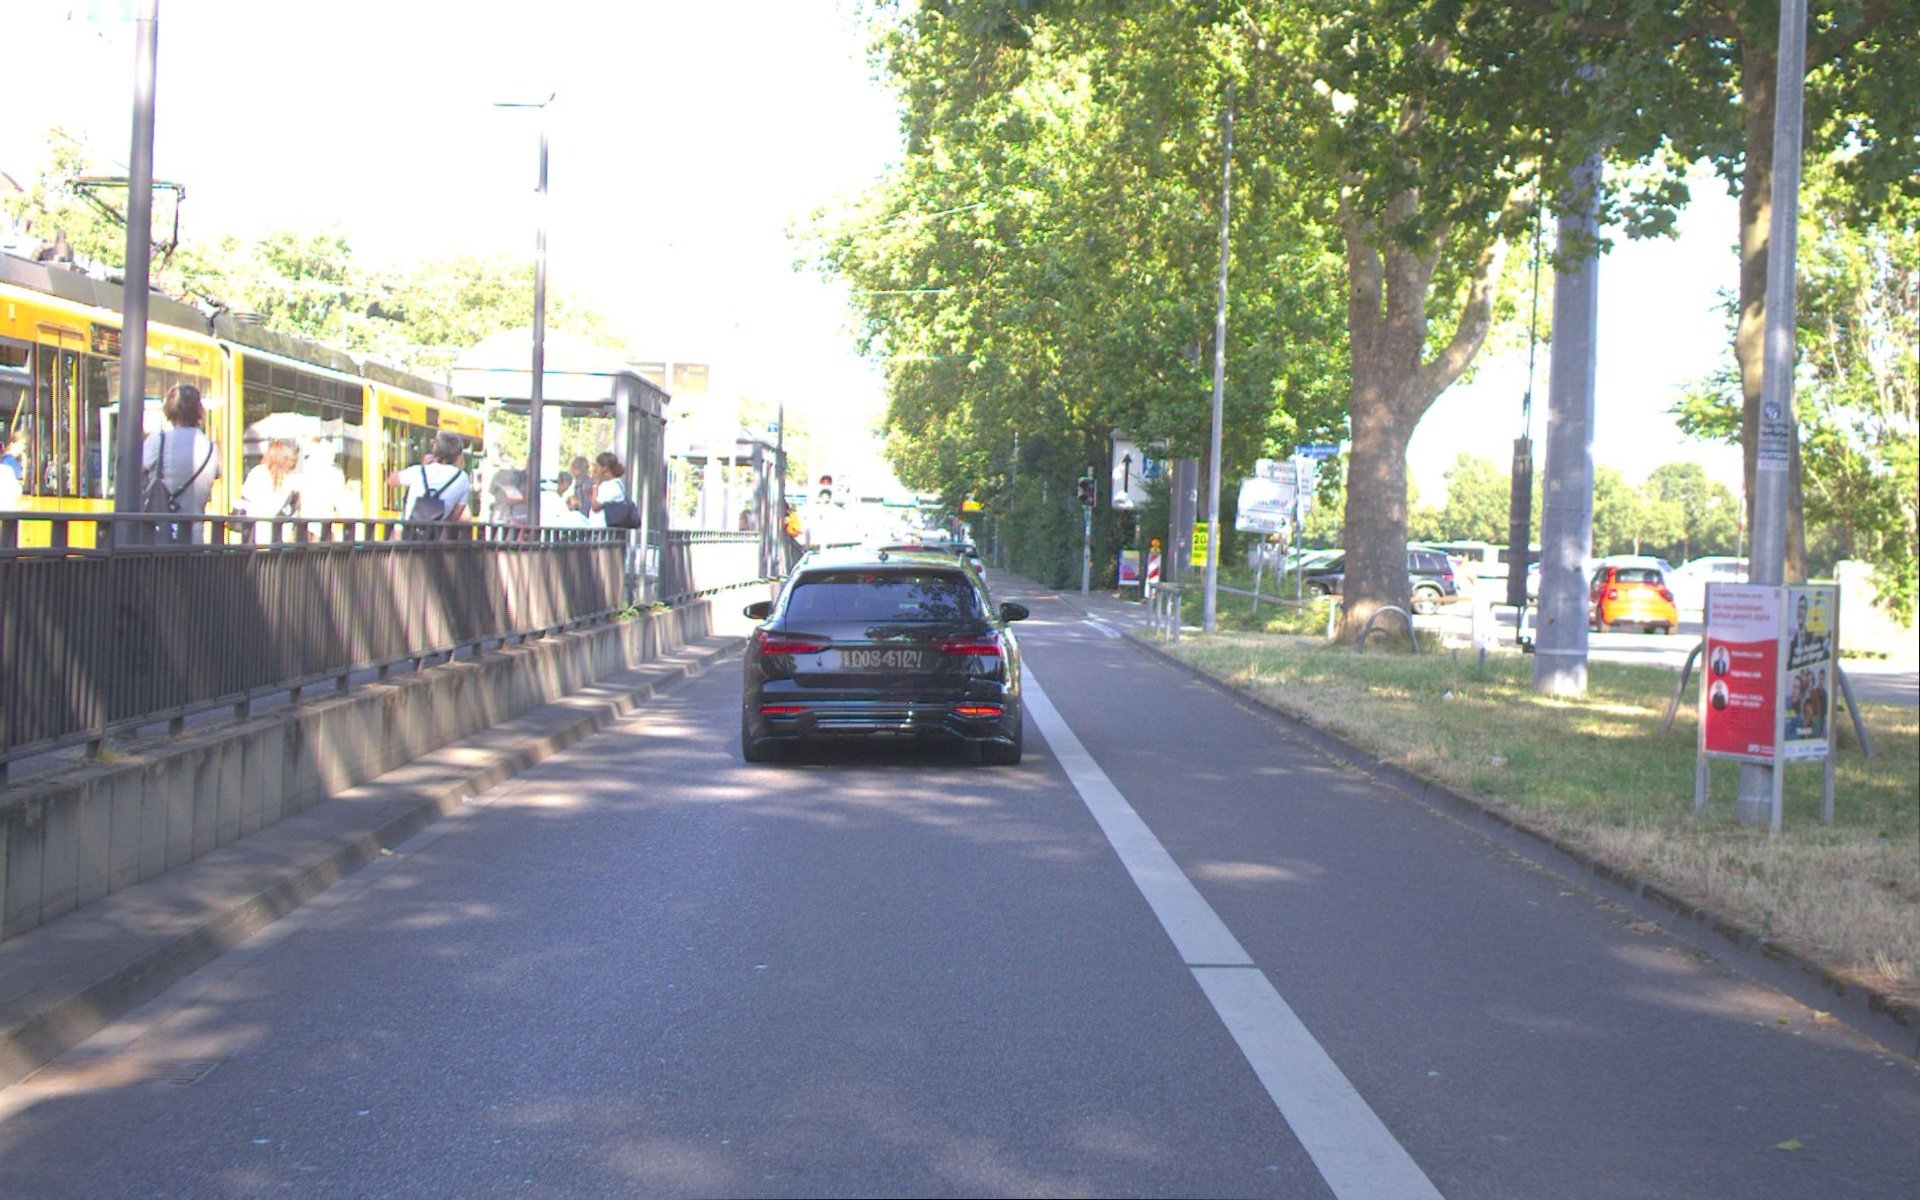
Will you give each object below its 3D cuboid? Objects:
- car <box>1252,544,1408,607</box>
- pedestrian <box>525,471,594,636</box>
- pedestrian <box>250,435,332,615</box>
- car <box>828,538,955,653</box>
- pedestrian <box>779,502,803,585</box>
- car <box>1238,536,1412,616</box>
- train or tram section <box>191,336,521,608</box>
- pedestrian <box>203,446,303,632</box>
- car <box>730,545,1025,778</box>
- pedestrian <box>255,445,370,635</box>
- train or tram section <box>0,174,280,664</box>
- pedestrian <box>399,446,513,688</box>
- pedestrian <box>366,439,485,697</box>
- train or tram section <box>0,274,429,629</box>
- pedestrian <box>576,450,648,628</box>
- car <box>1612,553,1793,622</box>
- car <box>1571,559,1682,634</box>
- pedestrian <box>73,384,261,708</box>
[{"bbox_3d":[9.804,-0.656,91.276,3.886,1.499,1.888,2,1,1],"label":"car"},{"bbox_3d":[-4.416,-0.518,37.938,0.610,1.778,0.681,2,1,0],"label":"pedestrian"},{"bbox_3d":[-6.787,-0.757,34.902,0.611,1.778,0.775,2,1,0],"label":"pedestrian"},{"bbox_3d":[-1.080,-0.103,52.553,1.762,1.613,4.001,2,1,-3],"label":"car"},{"bbox_3d":[-3.553,-1.192,72.288,0.412,1.711,0.666,3,1,-1],"label":"pedestrian"},{"bbox_3d":[8.898,-0.586,83.947,3.987,1.758,1.833,2,1,0],"label":"car"},{"bbox_3d":[-9.563,-1.966,56.048,3.309,3.816,11.844,3,1,-1],"label":"train or tram section"},{"bbox_3d":[-6.943,-0.602,33.782,0.793,1.778,0.625,2,1,0],"label":"pedestrian"},{"bbox_3d":[-0.611,0.369,23.785,1.878,1.452,3.357,1,1,-3],"label":"car"},{"bbox_3d":[-6.200,-0.571,32.923,0.793,1.778,0.649,2,1,-40],"label":"pedestrian"},{"bbox_3d":[-9.210,-1.540,31.172,3.309,3.816,14.220,3,1,-1],"label":"train or tram section"},{"bbox_3d":[-3.490,-0.231,23.784,0.611,1.636,0.614,2,1,-20],"label":"pedestrian"},{"bbox_3d":[-3.539,-0.216,22.789,0.611,1.663,0.613,2,1,1],"label":"pedestrian"},{"bbox_3d":[-9.398,-1.760,44.197,3.309,3.816,11.844,3,1,-1],"label":"train or tram section"},{"bbox_3d":[-3.557,-0.621,35.162,0.611,1.778,0.613,2,1,0],"label":"pedestrian"},{"bbox_3d":[19.872,-0.349,92.153,4.459,1.653,1.917,3,1,4],"label":"car"},{"bbox_3d":[14.507,-0.105,74.990,1.614,1.510,3.803,2,1,0],"label":"car"},{"bbox_3d":[-3.916,-0.267,17.018,0.614,1.543,0.724,3,1,10],"label":"pedestrian"}]
